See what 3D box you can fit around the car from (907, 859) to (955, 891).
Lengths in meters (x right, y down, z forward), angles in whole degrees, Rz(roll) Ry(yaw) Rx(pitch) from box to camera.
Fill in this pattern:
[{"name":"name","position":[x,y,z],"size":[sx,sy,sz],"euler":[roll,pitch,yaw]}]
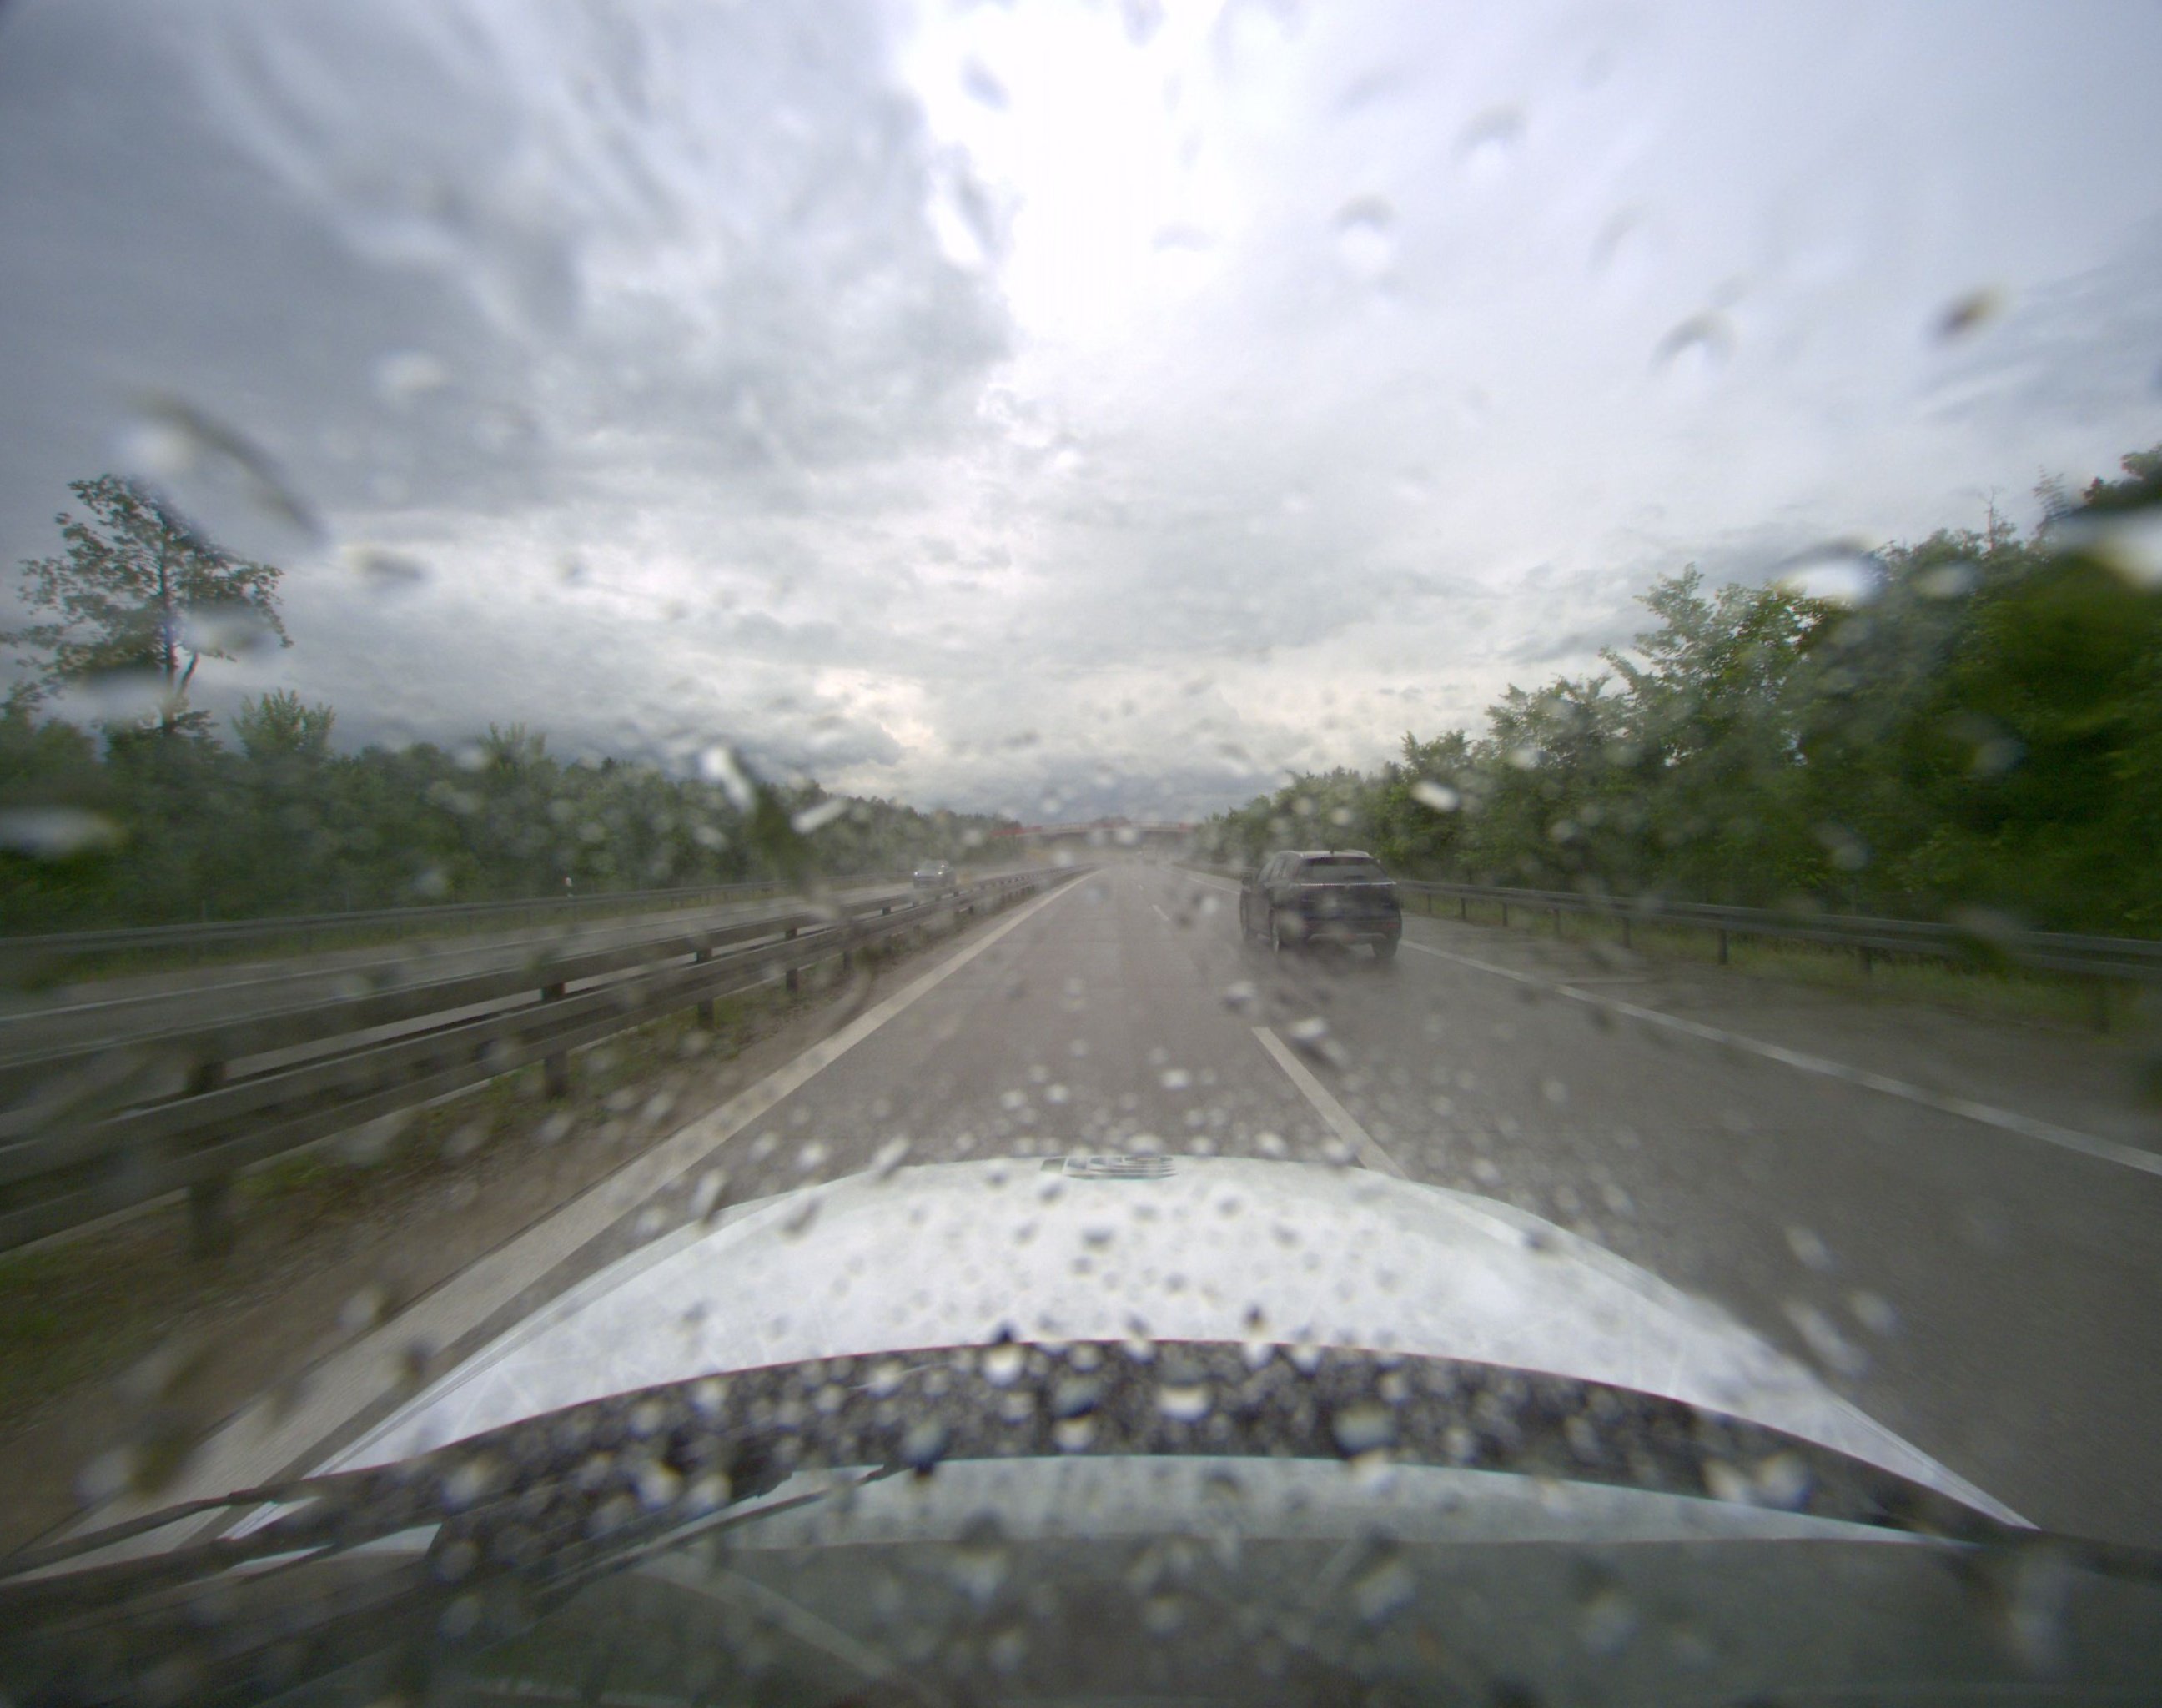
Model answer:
[{"name":"car","position":[-9.071,1.243,49.669],"size":[1.986,1.582,4.002],"euler":[-3,1,2]}]

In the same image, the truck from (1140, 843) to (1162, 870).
[{"name":"truck","position":[12.424,0.394,143.789],"size":[3.224,4.437,8.268],"euler":[-1,0,9]}]

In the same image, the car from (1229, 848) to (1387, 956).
[{"name":"car","position":[3.635,0.710,13.694],"size":[1.885,1.576,3.636],"euler":[-1,0,4]}]
